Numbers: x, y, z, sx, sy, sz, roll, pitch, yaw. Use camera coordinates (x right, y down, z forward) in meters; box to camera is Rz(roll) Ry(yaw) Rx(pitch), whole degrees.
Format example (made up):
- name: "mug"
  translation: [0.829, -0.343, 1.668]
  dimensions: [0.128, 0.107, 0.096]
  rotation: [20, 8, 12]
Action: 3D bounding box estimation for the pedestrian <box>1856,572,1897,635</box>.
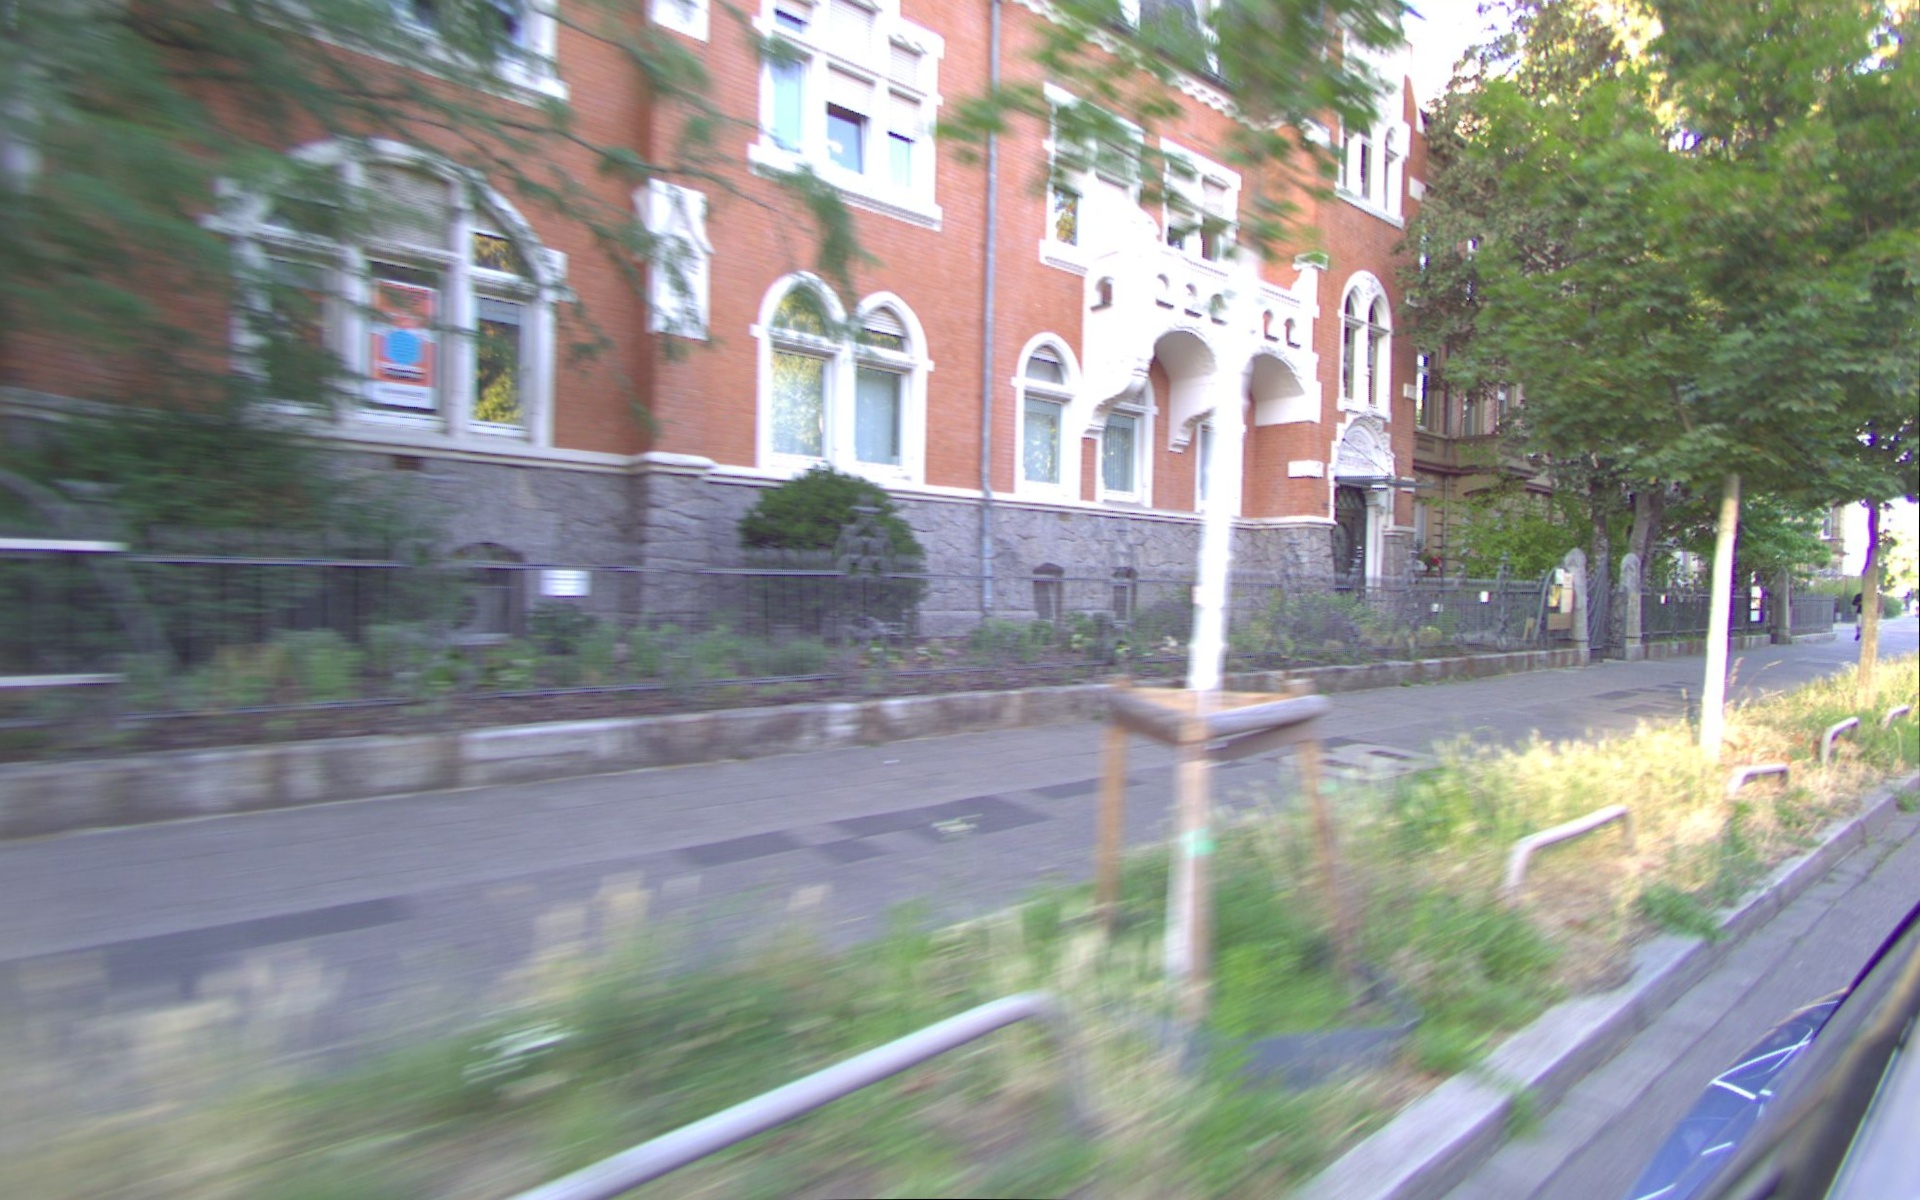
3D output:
- name: "pedestrian"
  translation: [27.466, 0.098, 30.315]
  dimensions: [0.818, 1.800, 0.746]
  rotation: [0, 4, -44]
